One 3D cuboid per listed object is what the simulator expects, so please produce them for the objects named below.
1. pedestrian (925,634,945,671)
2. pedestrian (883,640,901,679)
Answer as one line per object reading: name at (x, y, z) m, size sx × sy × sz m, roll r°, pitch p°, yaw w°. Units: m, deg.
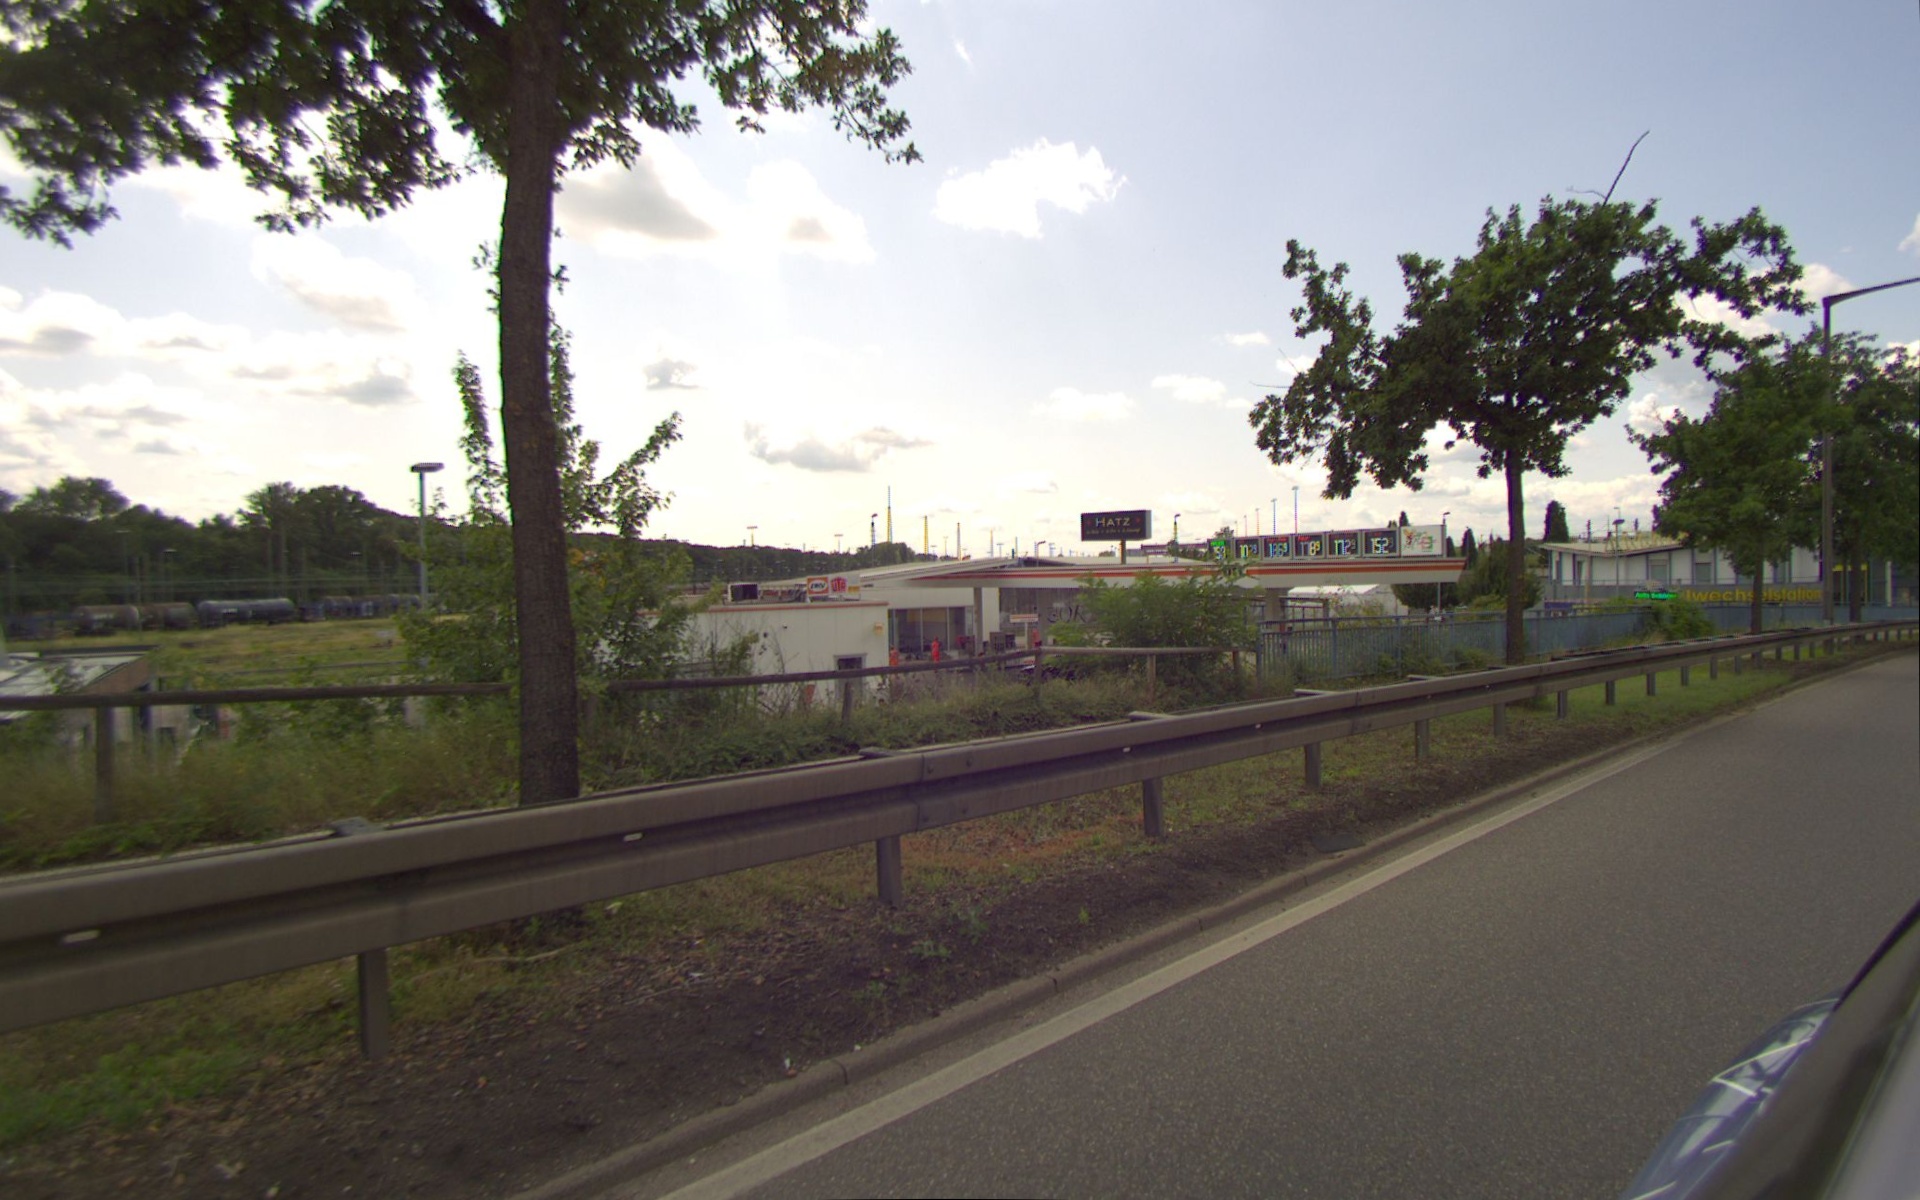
pedestrian at (-1.371, 2.819, 54.696) m, size 0.738 × 1.881 × 0.822 m, roll -3°, pitch 2°, yaw -26°
pedestrian at (-3.492, 3.030, 51.785) m, size 0.836 × 1.881 × 0.821 m, roll -1°, pitch 1°, yaw 0°
